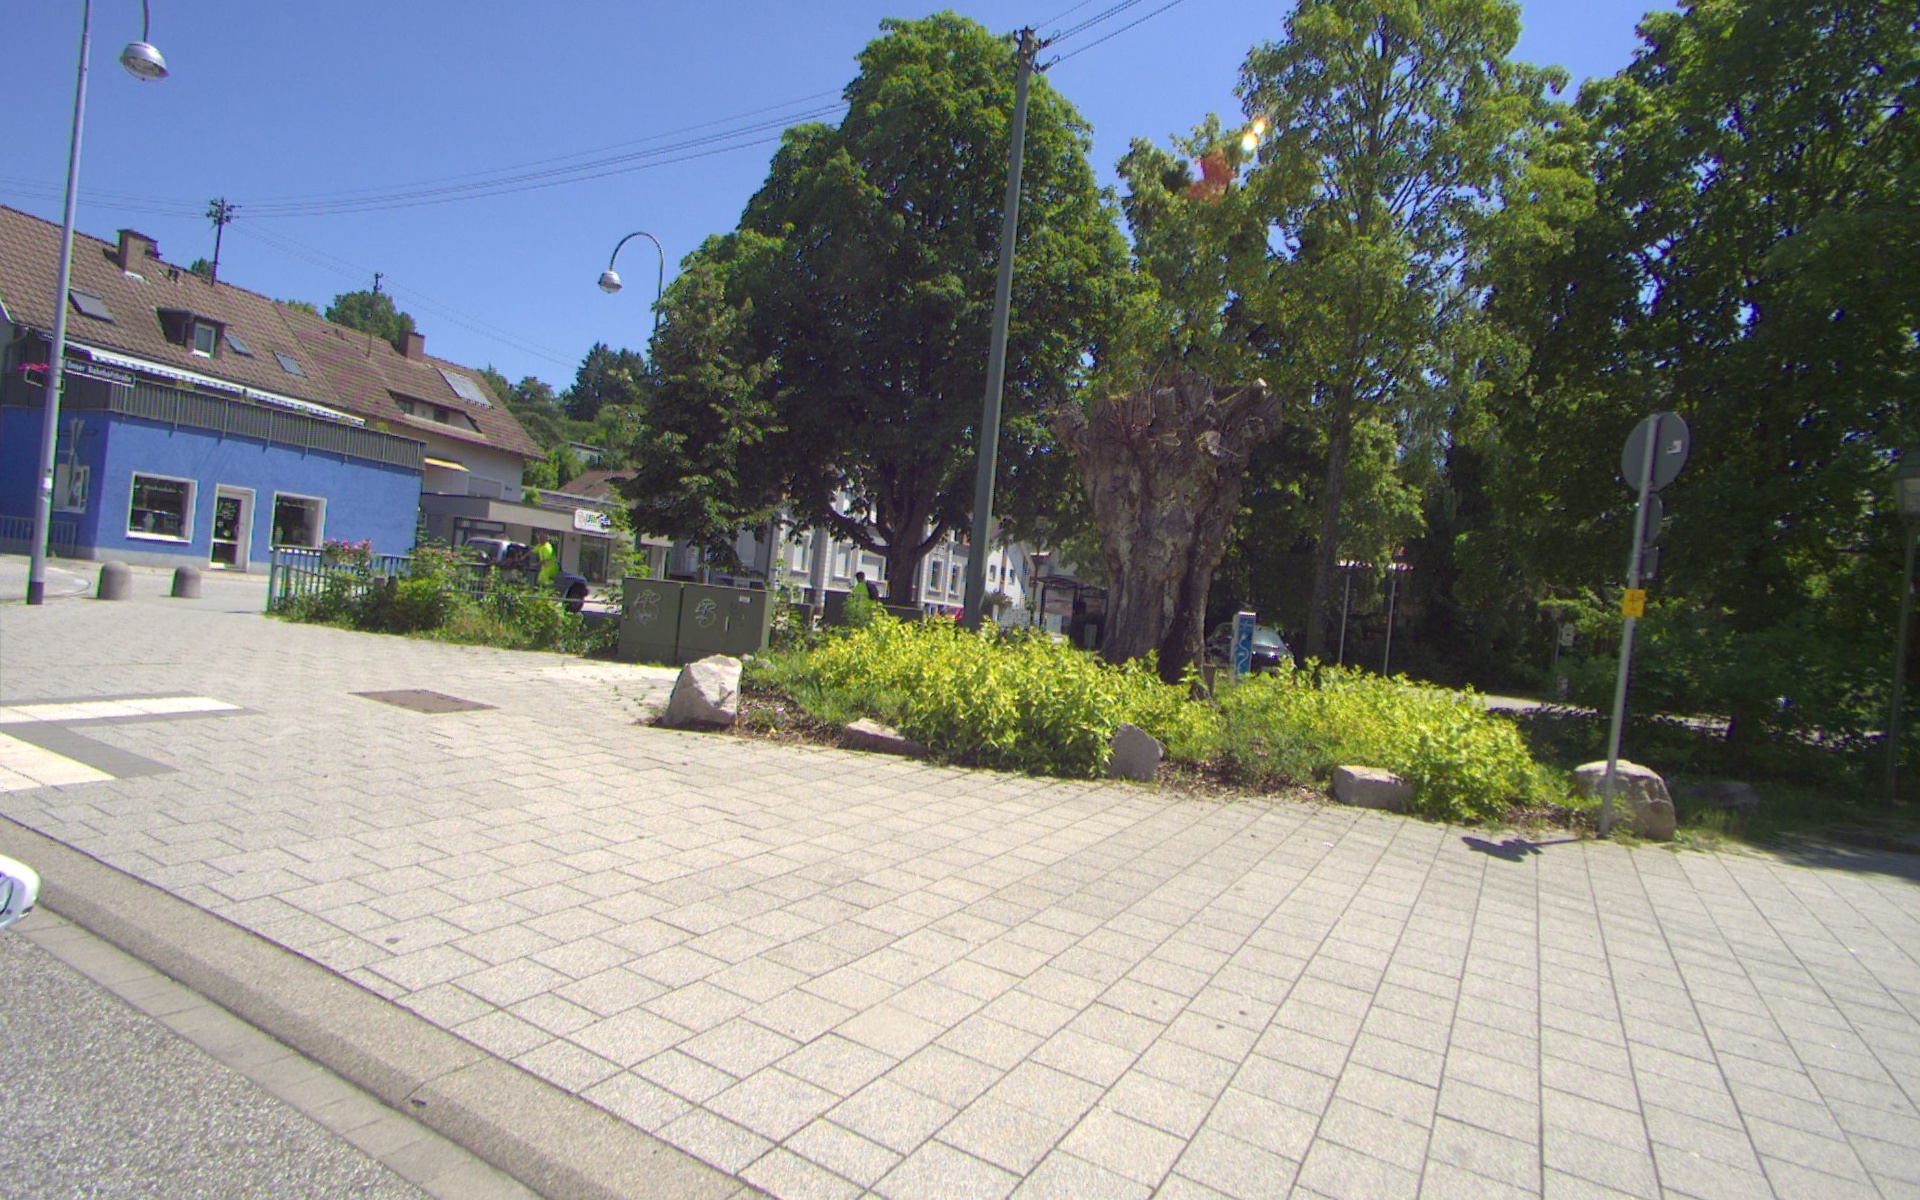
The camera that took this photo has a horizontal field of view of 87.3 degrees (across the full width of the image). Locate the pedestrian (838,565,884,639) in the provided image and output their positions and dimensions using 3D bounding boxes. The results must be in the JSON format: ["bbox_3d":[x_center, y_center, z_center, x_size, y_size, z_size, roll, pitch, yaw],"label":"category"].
[{"bbox_3d":[-2.315,0.051,23.674,0.705,1.652,0.747,6,1,16],"label":"pedestrian"}]

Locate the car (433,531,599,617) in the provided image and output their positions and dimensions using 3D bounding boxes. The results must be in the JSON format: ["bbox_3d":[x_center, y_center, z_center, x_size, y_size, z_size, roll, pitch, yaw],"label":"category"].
[{"bbox_3d":[-12.582,-0.673,28.817,1.731,1.896,4.233,6,-2,21],"label":"car"}]

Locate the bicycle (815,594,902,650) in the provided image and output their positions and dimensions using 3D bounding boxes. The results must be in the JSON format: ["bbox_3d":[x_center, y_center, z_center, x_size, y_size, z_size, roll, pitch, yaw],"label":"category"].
[{"bbox_3d":[-2.379,0.516,23.676,1.814,1.097,0.747,6,1,16],"label":"bicycle"}]

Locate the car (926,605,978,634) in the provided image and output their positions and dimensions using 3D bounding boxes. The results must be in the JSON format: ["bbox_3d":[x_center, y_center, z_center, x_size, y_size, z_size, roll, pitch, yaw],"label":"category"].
[{"bbox_3d":[-0.491,1.258,64.776,1.747,1.571,3.672,5,-1,28],"label":"car"}]

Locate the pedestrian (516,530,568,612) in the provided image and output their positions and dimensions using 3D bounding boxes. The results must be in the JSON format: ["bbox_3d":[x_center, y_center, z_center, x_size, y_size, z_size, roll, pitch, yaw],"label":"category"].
[{"bbox_3d":[-9.671,-0.656,23.294,0.667,1.824,0.738,6,2,13],"label":"pedestrian"}]

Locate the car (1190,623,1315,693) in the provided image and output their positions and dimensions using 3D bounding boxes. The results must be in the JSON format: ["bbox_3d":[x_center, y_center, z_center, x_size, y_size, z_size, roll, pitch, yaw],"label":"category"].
[{"bbox_3d":[7.715,1.484,26.948,1.645,1.472,3.756,6,0,-9],"label":"car"}]

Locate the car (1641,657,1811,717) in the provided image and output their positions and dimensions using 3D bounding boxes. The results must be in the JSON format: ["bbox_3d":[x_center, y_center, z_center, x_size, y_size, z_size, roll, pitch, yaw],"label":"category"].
[{"bbox_3d":[40.124,4.516,52.962,2.168,2.267,6.715,5,0,-29],"label":"car"}]
